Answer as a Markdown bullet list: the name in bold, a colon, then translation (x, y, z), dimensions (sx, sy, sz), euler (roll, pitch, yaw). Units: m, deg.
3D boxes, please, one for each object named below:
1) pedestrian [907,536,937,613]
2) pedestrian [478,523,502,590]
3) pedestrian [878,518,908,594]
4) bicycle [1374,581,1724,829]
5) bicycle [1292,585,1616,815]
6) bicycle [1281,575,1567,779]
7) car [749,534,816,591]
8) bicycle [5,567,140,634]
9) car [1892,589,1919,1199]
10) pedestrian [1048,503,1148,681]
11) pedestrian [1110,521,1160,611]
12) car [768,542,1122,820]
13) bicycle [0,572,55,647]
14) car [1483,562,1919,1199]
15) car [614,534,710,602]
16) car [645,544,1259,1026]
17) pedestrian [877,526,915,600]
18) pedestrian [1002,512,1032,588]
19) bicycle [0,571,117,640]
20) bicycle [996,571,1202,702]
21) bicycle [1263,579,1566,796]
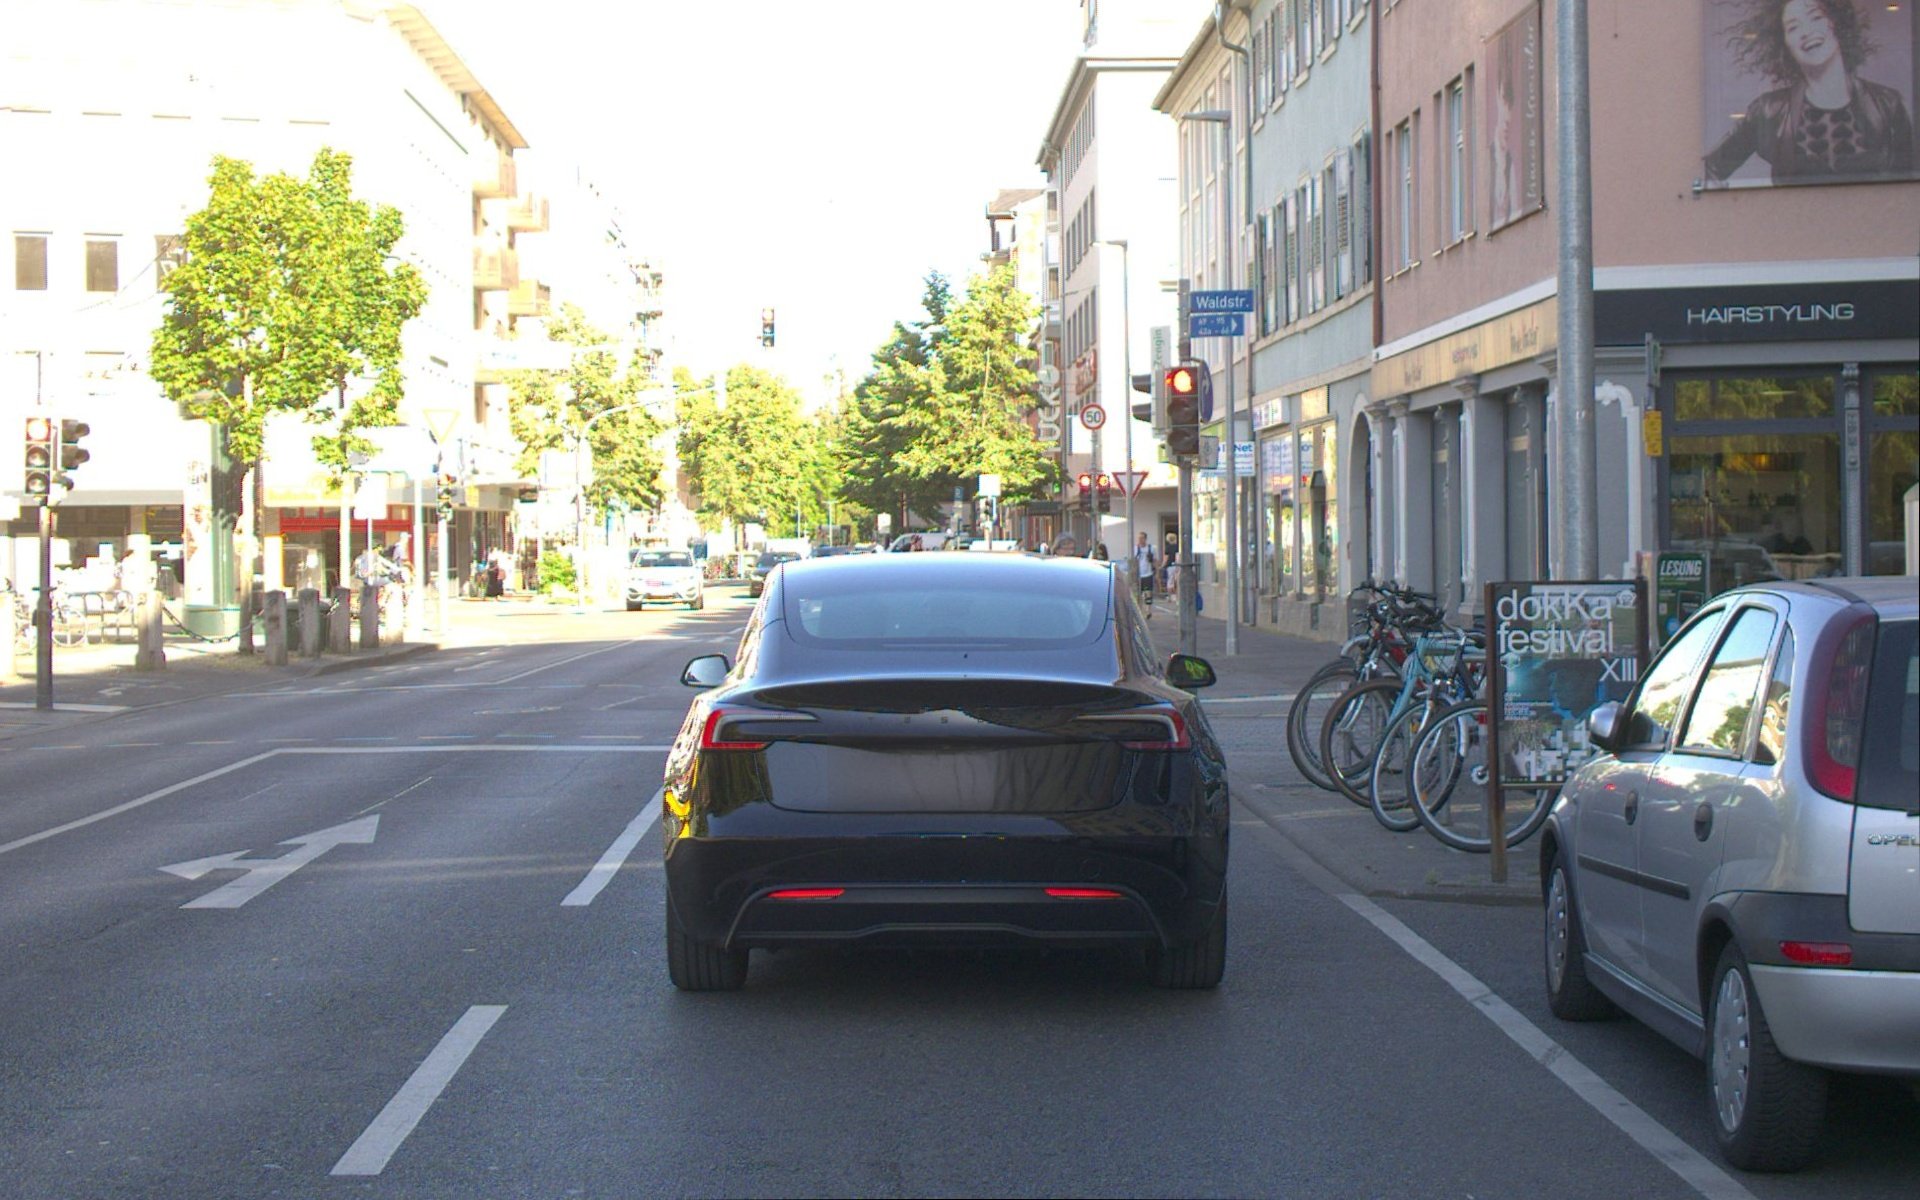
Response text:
- **pedestrian**: translation (-0.999, -0.680, 90.583), dimensions (0.627, 2.007, 0.558), euler (0, 1, 19)
- **pedestrian**: translation (-14.148, -1.321, 103.482), dimensions (0.626, 2.007, 0.575), euler (0, 1, 0)
- **pedestrian**: translation (-1.778, -1.168, 91.040), dimensions (0.627, 2.007, 0.558), euler (0, 1, 19)
- **bicycle**: translation (2.919, 0.515, 17.082), dimensions (1.627, 1.156, 0.433), euler (-2, 1, -1)
- **bicycle**: translation (2.634, 0.527, 18.396), dimensions (1.627, 1.156, 0.433), euler (-2, 1, -1)
- **bicycle**: translation (2.778, 0.456, 20.664), dimensions (1.628, 1.156, 0.433), euler (-2, 1, 1)
- **car**: translation (-5.490, -1.176, 106.639), dimensions (2.050, 1.721, 4.654), euler (0, 1, -2)
- **bicycle**: translation (-14.993, 0.005, 58.118), dimensions (2.082, 1.100, 0.806), euler (0, 1, 0)
- **car**: translation (2.763, 0.726, 4.806), dimensions (1.670, 1.422, 4.078), euler (0, 1, -2)
- **pedestrian**: translation (1.134, -0.066, 28.193), dimensions (0.743, 1.435, 0.582), euler (1, 1, 9)
- **pedestrian**: translation (3.628, -0.709, 71.350), dimensions (0.999, 1.844, 0.615), euler (0, 1, -1)
- **car**: translation (-0.067, 0.394, 19.897), dimensions (1.850, 1.450, 3.786), euler (0, 1, 0)
- **bicycle**: translation (-14.614, 0.137, 51.150), dimensions (2.082, 1.100, 0.806), euler (0, 1, 0)
- **car**: translation (2.549, 0.602, 9.535), dimensions (1.622, 1.389, 3.886), euler (0, 1, 0)
- **car**: translation (-7.420, -0.810, 85.991), dimensions (1.993, 1.535, 4.000), euler (-4, 1, 0)
- **car**: translation (-0.014, 0.528, 12.271), dimensions (1.850, 1.450, 3.786), euler (0, 1, 0)
- **pedestrian**: translation (-1.749, -1.009, 93.849), dimensions (0.750, 2.007, 0.798), euler (0, 1, -26)
- **pedestrian**: translation (1.500, -1.319, 90.726), dimensions (0.627, 2.007, 0.558), euler (1, 1, 24)
- **bicycle**: translation (-14.860, 0.080, 55.925), dimensions (2.082, 1.100, 0.806), euler (0, 1, 0)
- **bicycle**: translation (1.146, 0.293, 28.193), dimensions (1.616, 1.041, 0.590), euler (1, 1, 9)
- **bicycle**: translation (2.573, 0.489, 19.524), dimensions (1.627, 1.156, 0.433), euler (-2, 1, -1)
